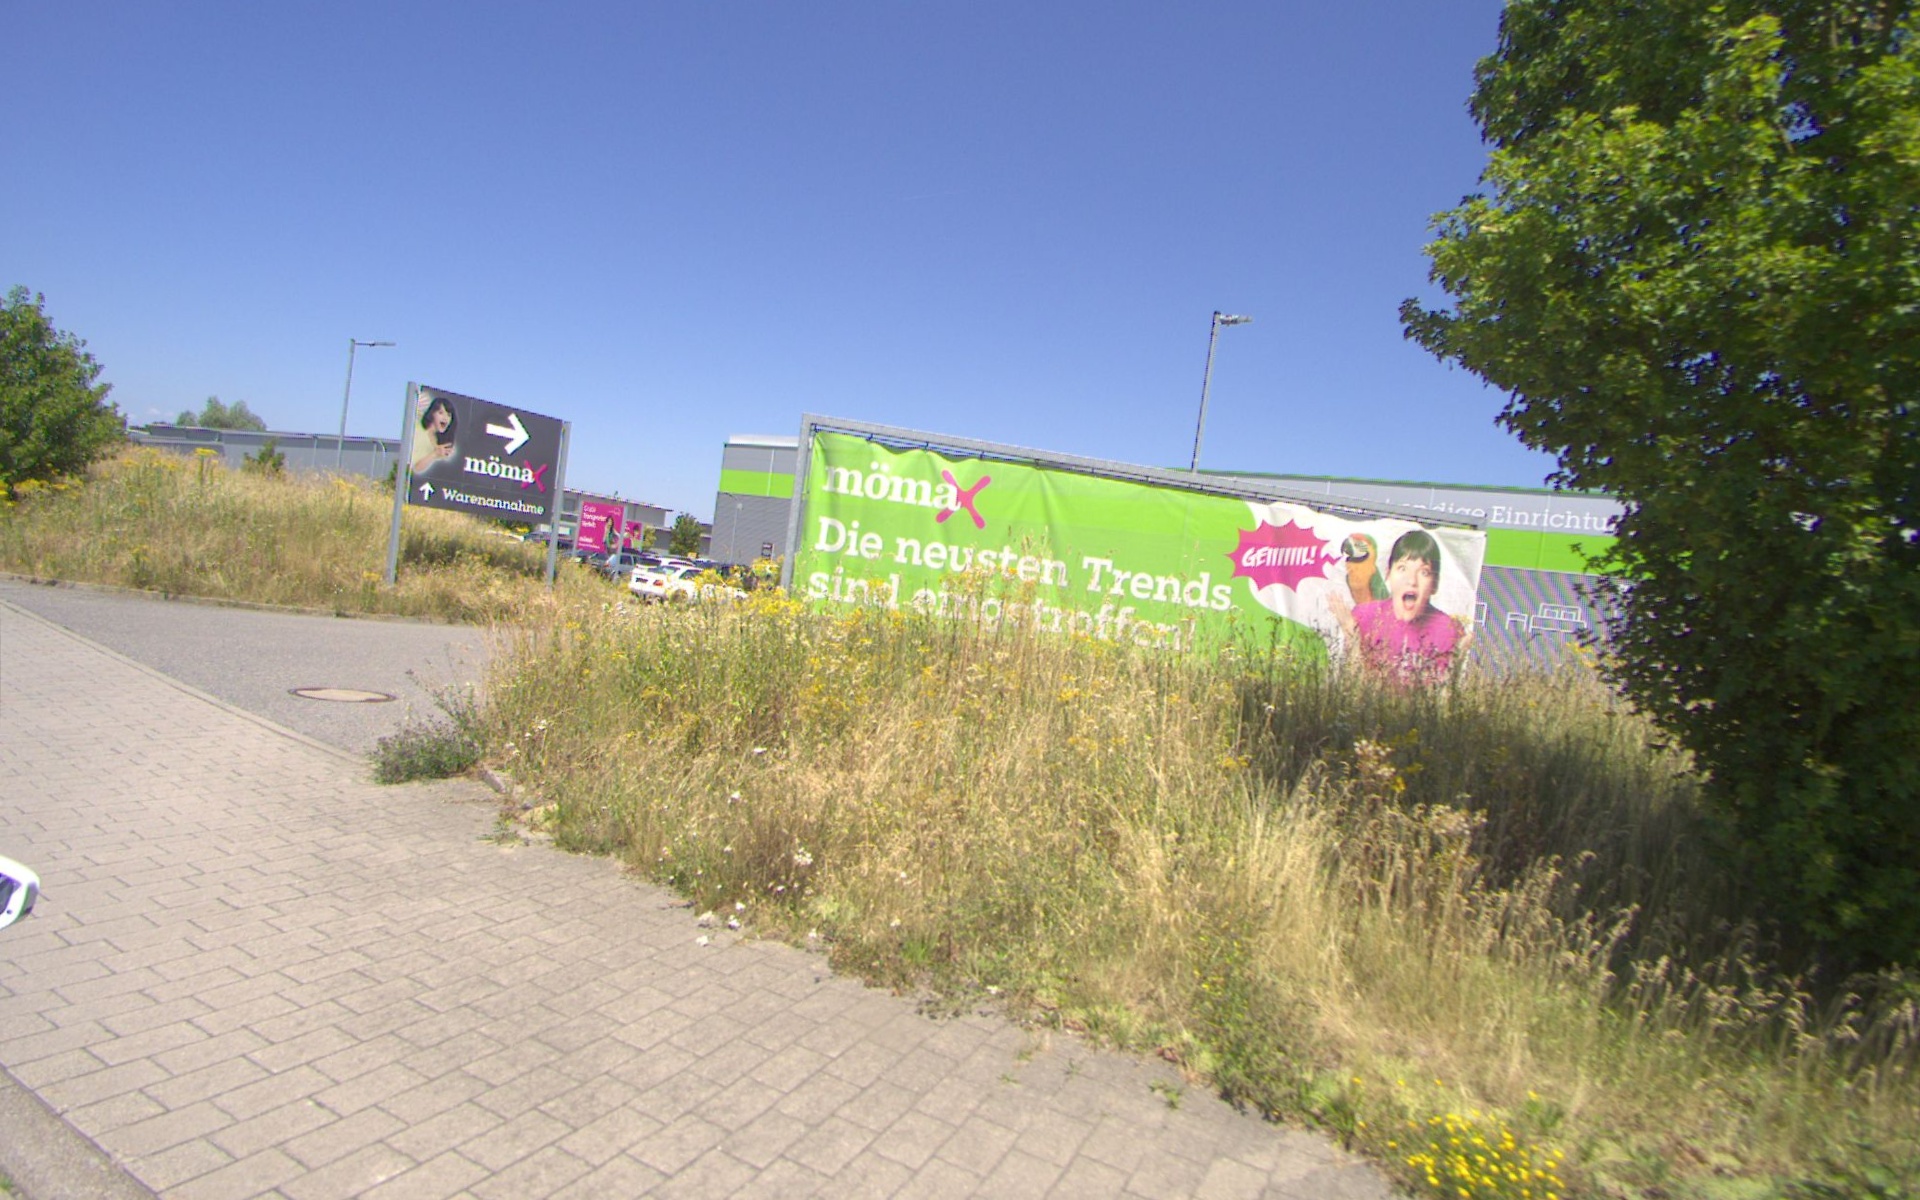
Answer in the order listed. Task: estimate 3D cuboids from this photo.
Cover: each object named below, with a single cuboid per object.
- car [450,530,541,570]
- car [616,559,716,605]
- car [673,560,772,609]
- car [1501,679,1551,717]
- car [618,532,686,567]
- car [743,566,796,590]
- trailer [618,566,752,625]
[{"bbox_3d":[-24.057,-2.592,52.240,1.911,1.461,3.739,7,-1,34],"label":"car"},{"bbox_3d":[-12.947,-0.772,44.467,1.911,1.461,3.739,7,-1,34],"label":"car"},{"bbox_3d":[-10.096,-0.639,42.936,1.860,1.589,3.739,7,-1,34],"label":"car"},{"bbox_3d":[28.995,4.984,51.646,1.966,1.538,4.660,6,0,28],"label":"car"},{"bbox_3d":[-20.917,-3.440,68.528,1.967,1.871,3.990,6,0,32],"label":"car"},{"bbox_3d":[-15.323,-1.764,81.094,1.965,1.538,3.994,6,0,28],"label":"car"},{"bbox_3d":[-8.951,-0.120,33.027,1.735,1.415,3.992,7,-1,32],"label":"trailer"}]
